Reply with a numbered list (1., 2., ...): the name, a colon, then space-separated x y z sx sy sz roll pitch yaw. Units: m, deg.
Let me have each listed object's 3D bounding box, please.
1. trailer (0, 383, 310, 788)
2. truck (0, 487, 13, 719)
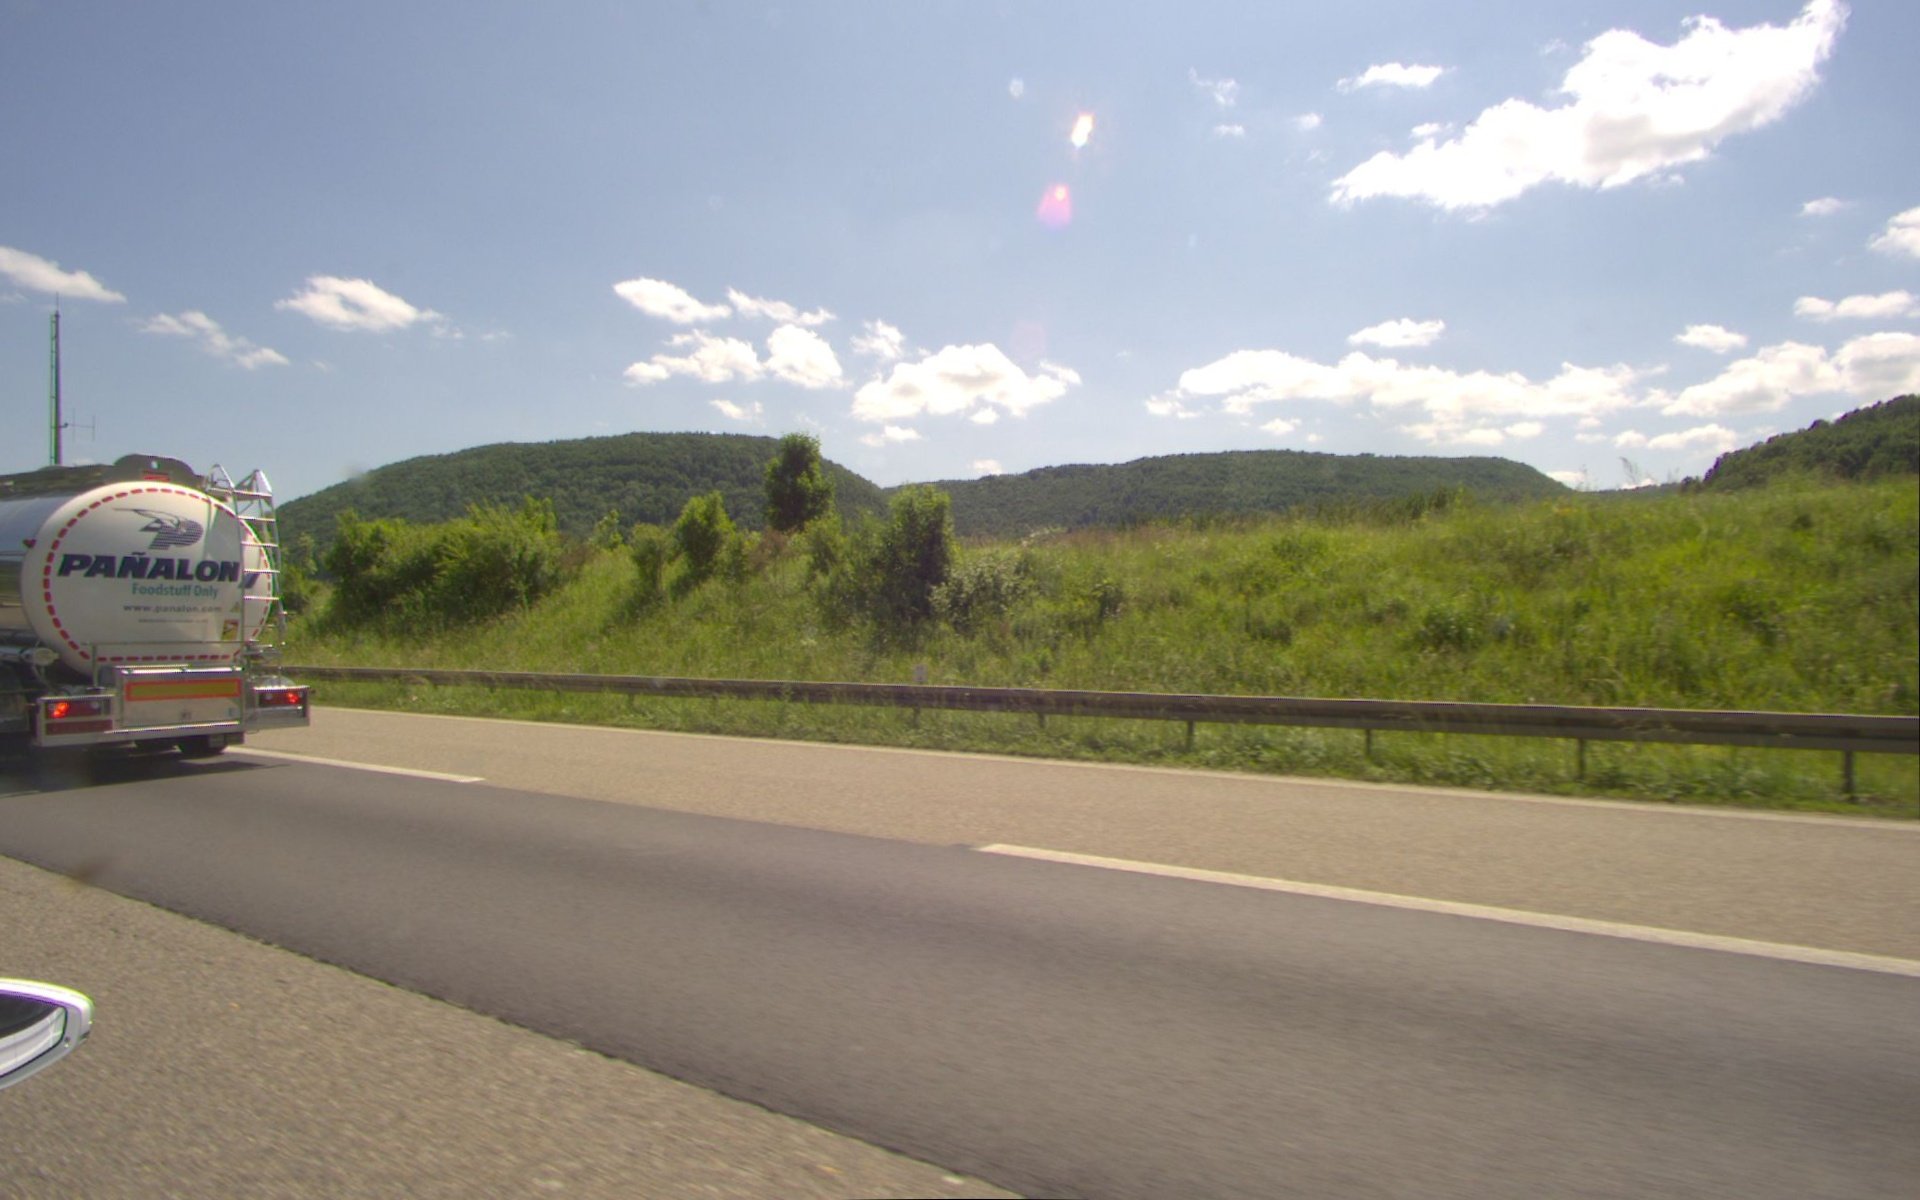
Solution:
1. trailer: -13.121 -0.011 13.525 11.720 3.783 2.534 -1 -2 32
2. truck: -18.575 0.059 16.902 5.170 3.807 2.508 -1 -1 32
